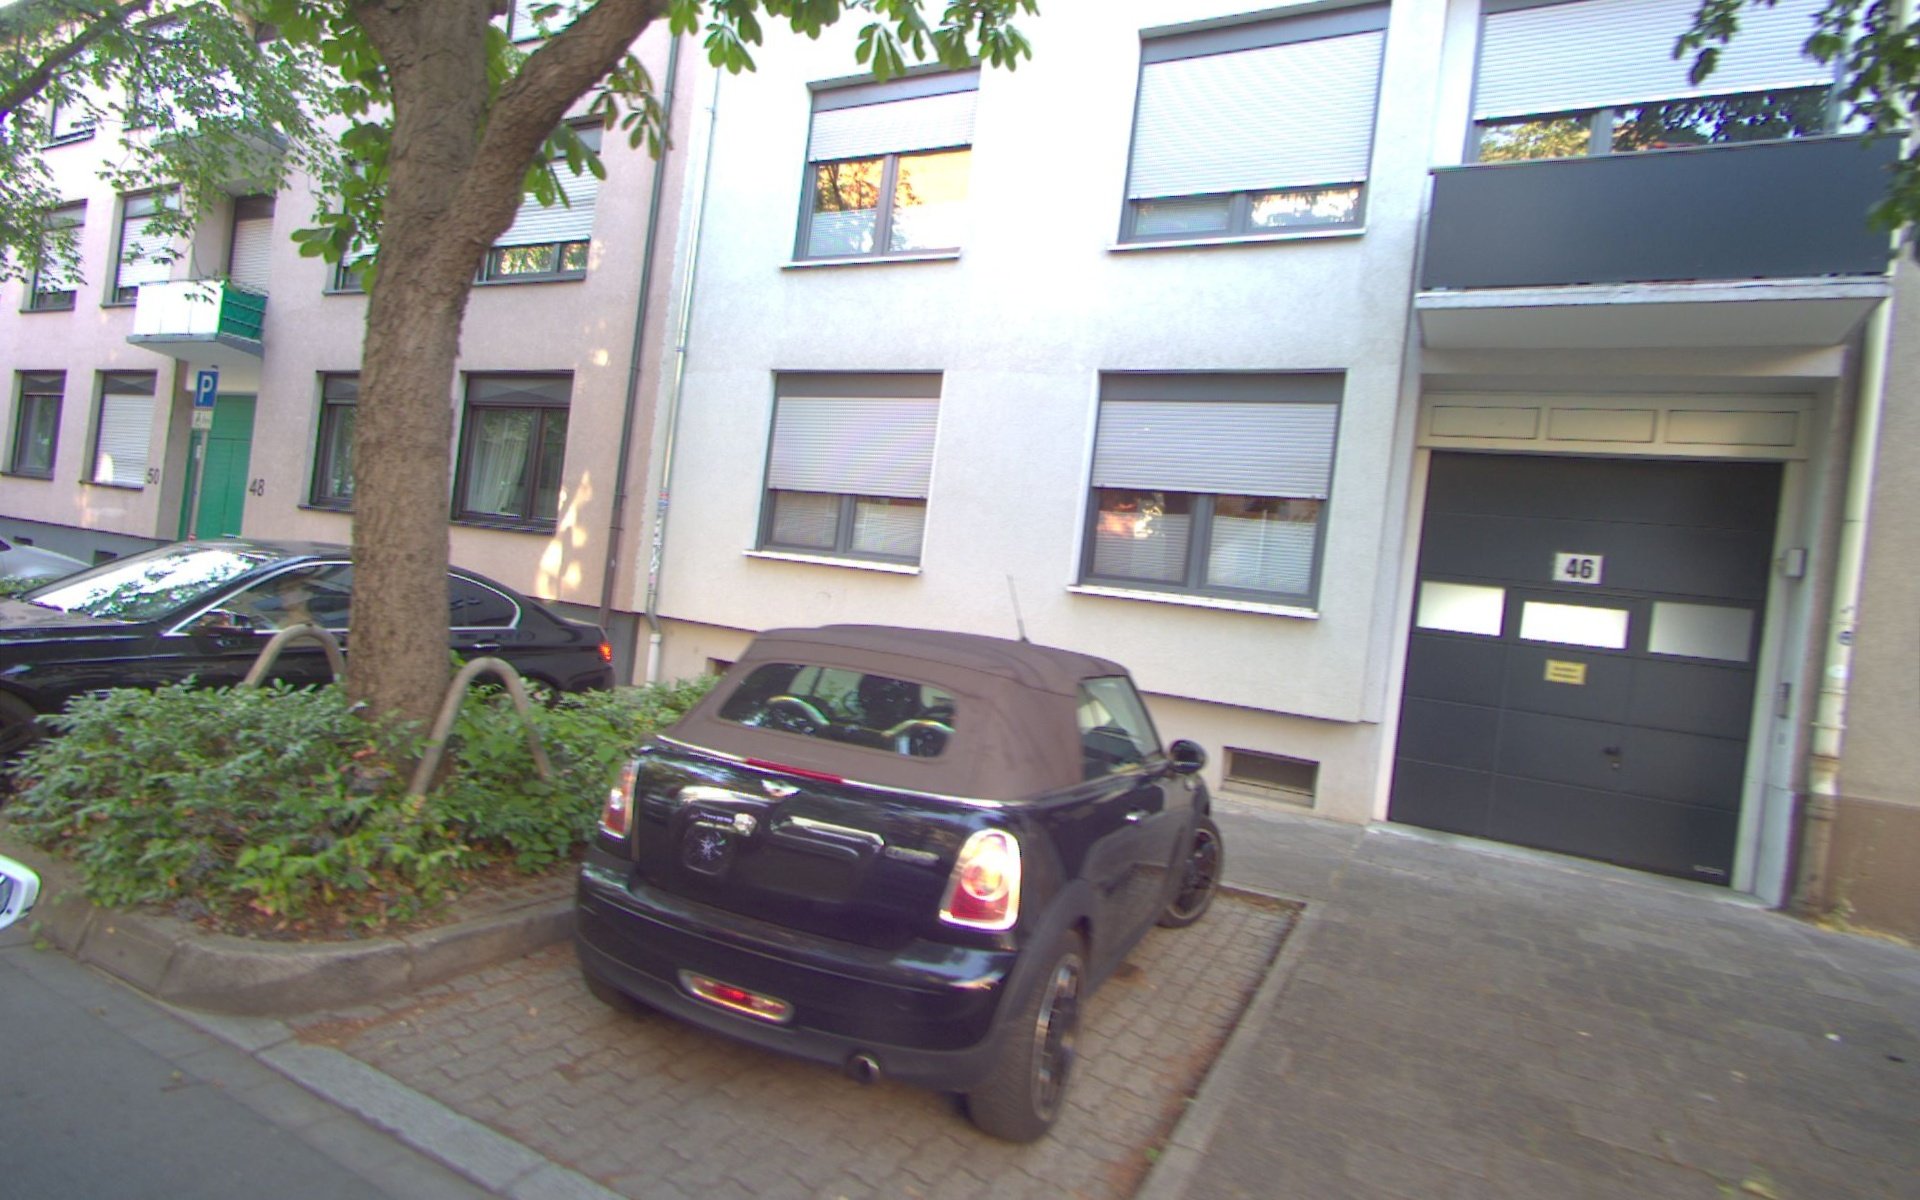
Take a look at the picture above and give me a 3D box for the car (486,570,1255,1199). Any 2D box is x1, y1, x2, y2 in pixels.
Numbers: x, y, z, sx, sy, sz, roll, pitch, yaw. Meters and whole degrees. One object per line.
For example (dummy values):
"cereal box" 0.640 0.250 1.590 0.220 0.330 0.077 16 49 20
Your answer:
"car" 0.116 0.805 4.338 1.635 1.380 3.621 7 -1 24

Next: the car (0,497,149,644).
"car" -11.032 -0.459 10.241 1.635 1.494 3.919 7 -1 26

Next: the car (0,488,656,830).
"car" -4.297 0.290 6.105 1.769 1.497 4.757 7 -1 27
